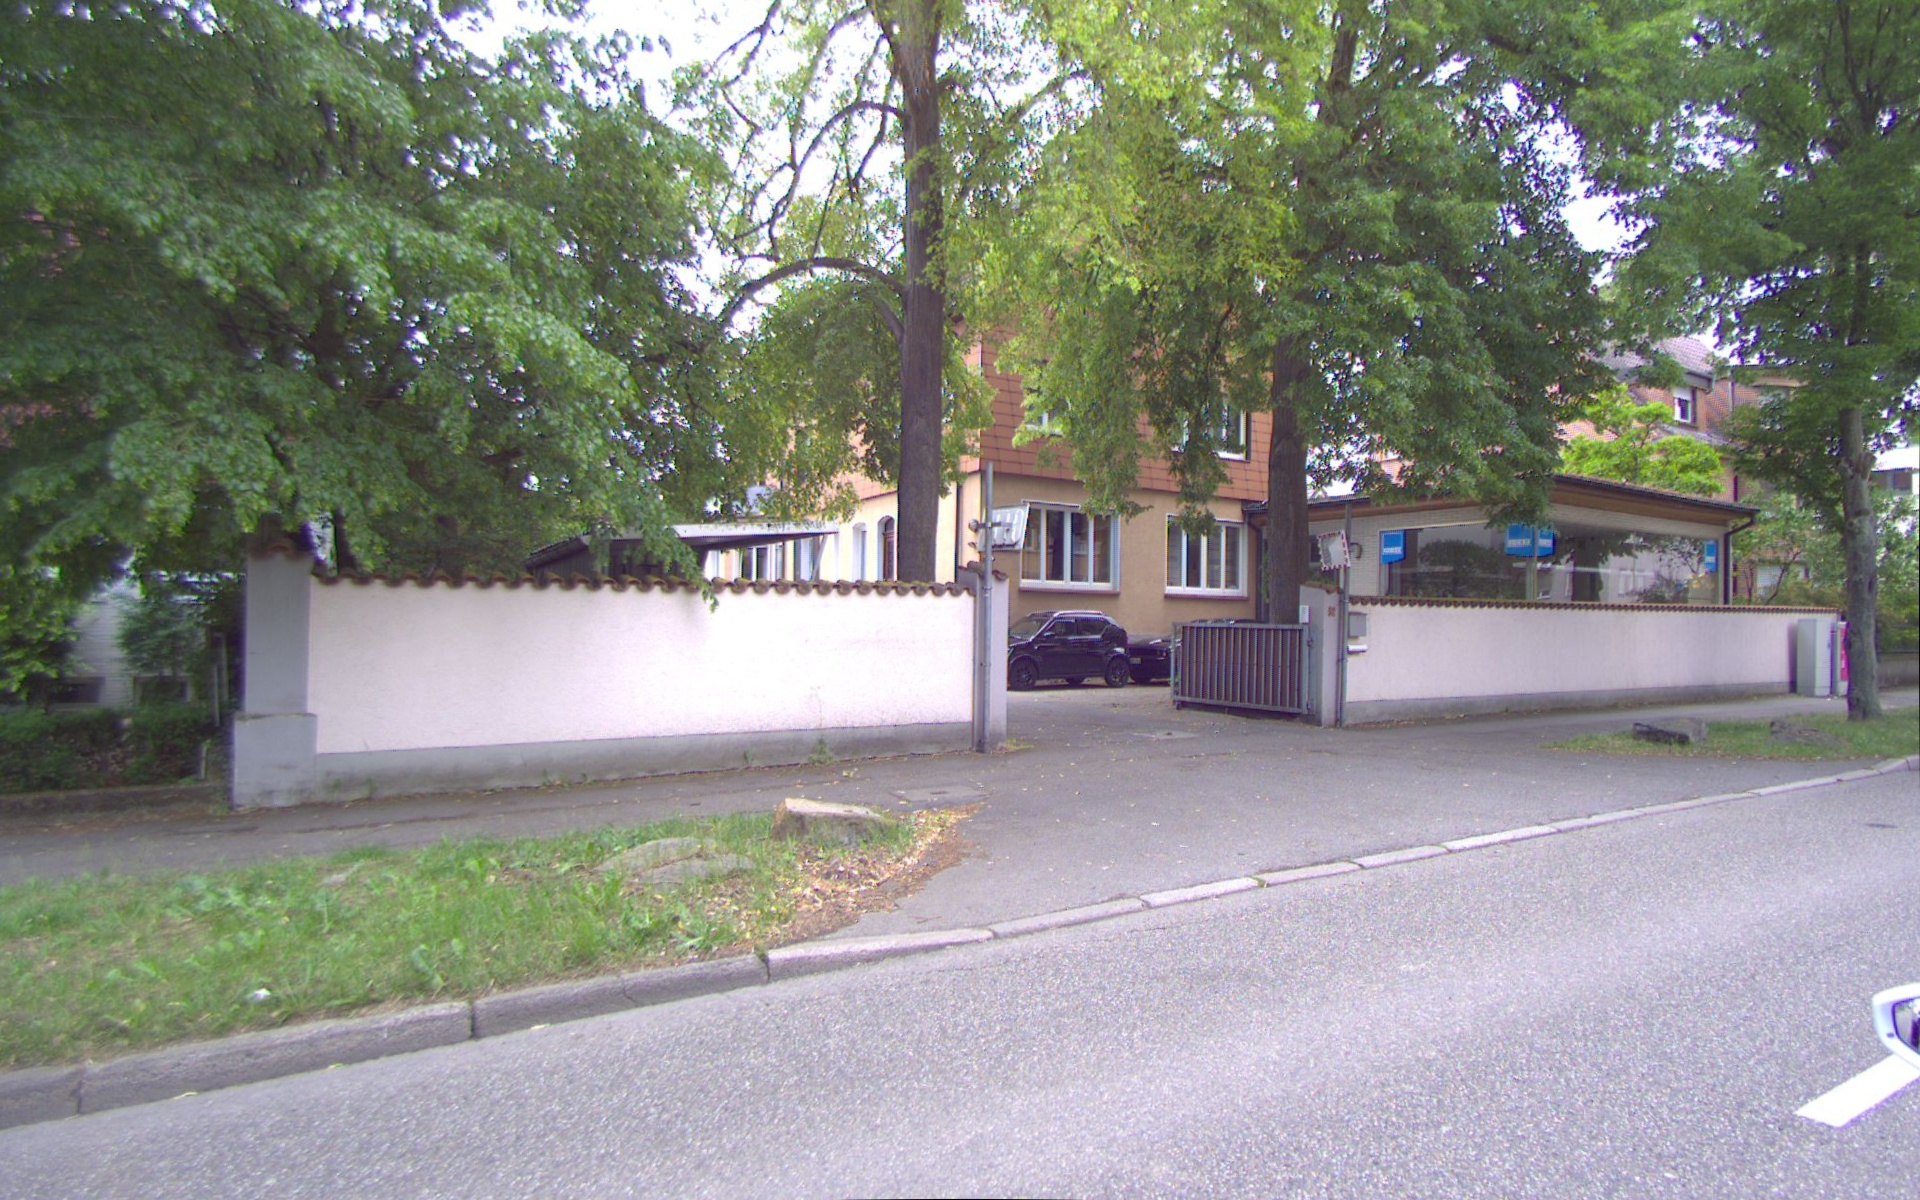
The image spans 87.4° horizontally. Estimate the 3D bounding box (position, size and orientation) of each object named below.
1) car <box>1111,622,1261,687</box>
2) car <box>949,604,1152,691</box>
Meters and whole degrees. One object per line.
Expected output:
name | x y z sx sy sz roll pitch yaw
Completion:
car | 5.155 1.205 22.798 3.360 1.347 1.333 2 0 -32
car | 1.921 0.969 21.076 3.955 1.662 1.771 2 0 -31
